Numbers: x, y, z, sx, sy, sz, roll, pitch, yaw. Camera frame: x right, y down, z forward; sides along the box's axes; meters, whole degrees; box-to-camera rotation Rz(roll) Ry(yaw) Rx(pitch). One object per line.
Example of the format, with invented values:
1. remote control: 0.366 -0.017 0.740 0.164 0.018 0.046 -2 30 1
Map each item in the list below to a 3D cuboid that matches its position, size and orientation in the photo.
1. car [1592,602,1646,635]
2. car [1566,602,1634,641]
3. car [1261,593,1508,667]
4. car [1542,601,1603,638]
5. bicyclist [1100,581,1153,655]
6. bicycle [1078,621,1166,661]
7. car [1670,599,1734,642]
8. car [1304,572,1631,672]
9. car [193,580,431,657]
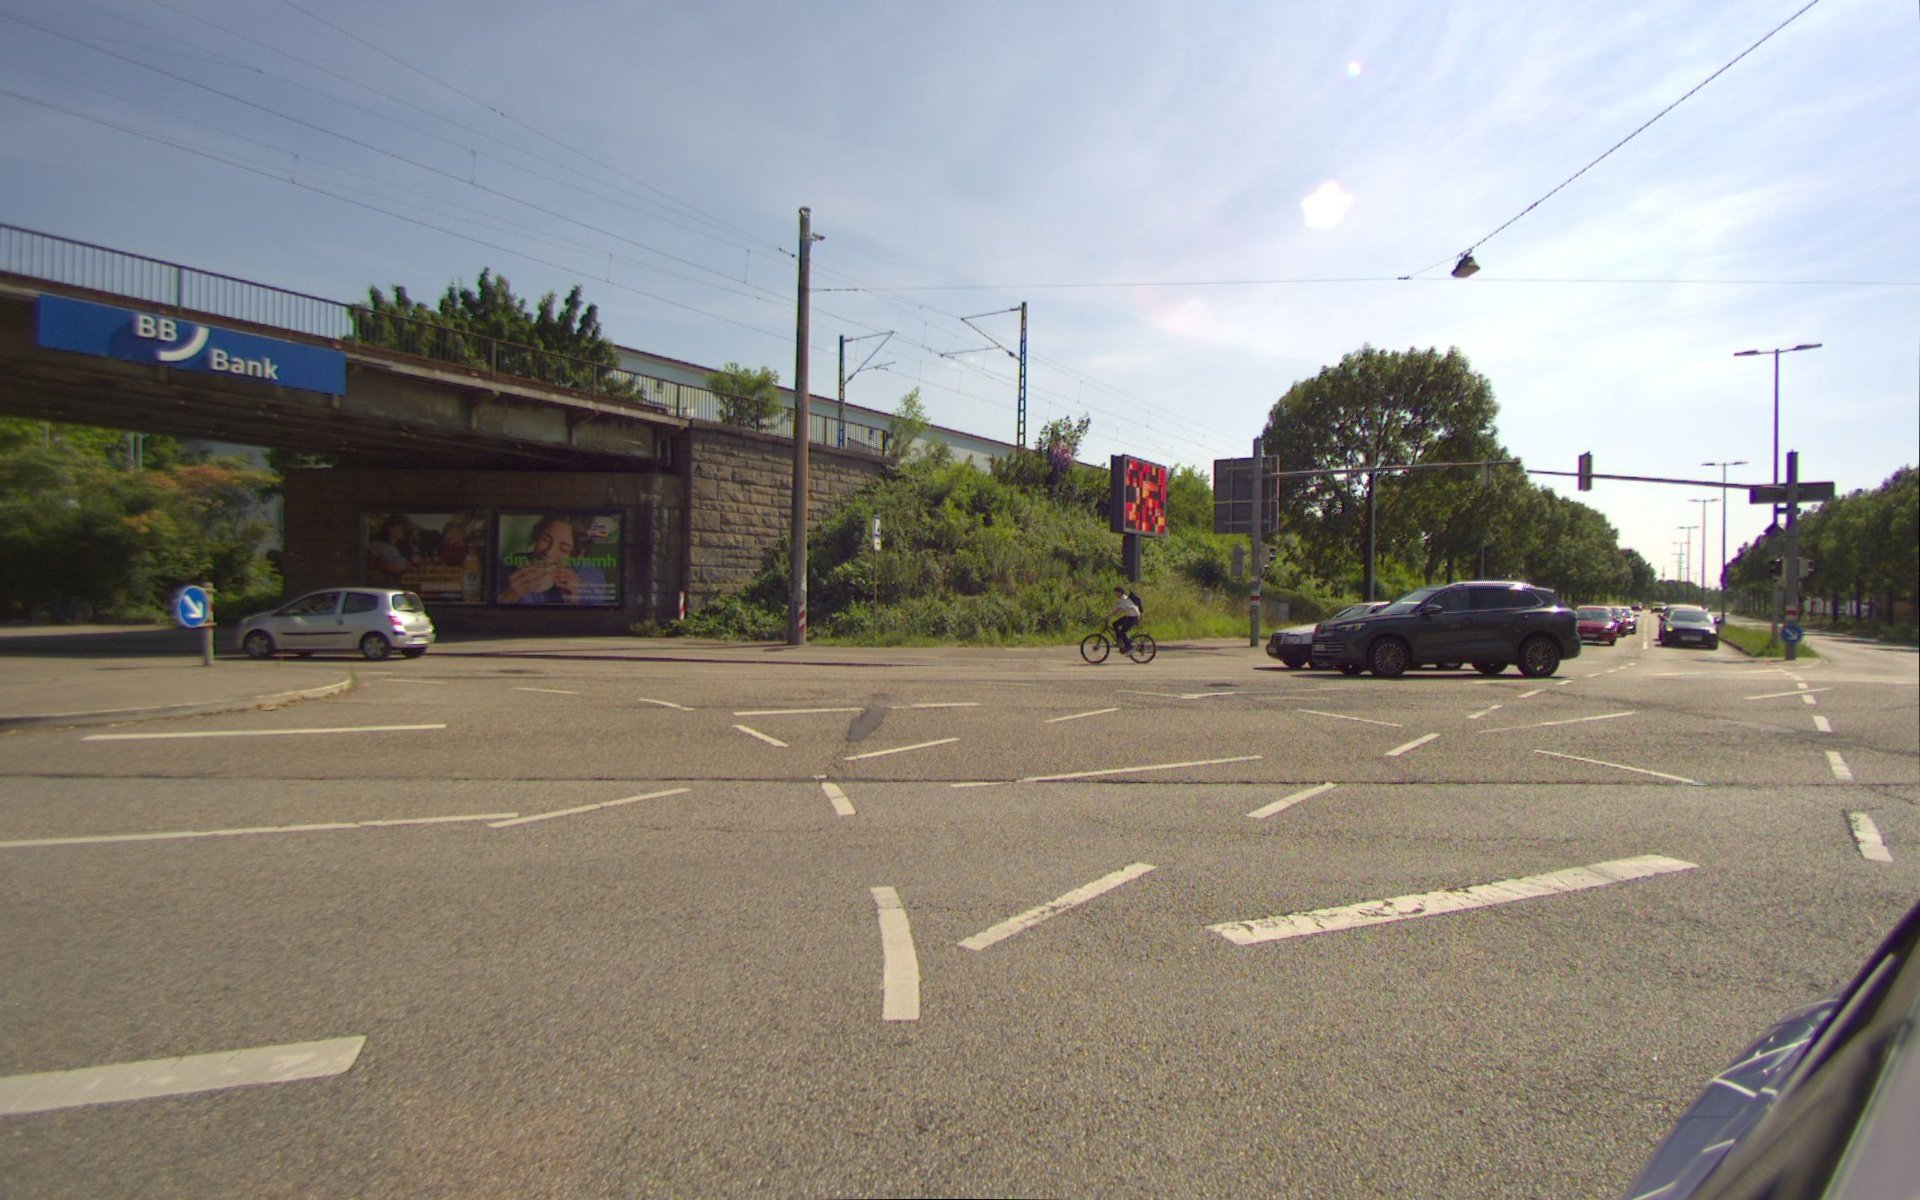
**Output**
1. car: 32.009 0.920 49.134 1.708 1.527 3.940 0 -2 40
2. car: 25.073 0.857 39.596 1.708 1.411 3.940 0 -2 40
3. car: 8.701 0.601 20.972 4.355 1.409 1.716 1 0 -1
4. car: 27.163 0.865 44.812 1.708 1.527 3.940 0 -2 40
5. bicyclist: 3.859 0.417 23.458 1.047 1.655 0.806 1 -2 -1
6. bicycle: 3.737 0.939 23.439 1.889 0.904 0.818 0 -2 -1
7. car: 28.587 0.805 38.975 1.708 1.527 3.940 0 -2 40
8. car: 9.001 0.370 18.257 4.880 1.628 1.949 1 0 0
9. car: -13.355 0.376 21.024 3.819 1.469 1.716 1 -1 0
